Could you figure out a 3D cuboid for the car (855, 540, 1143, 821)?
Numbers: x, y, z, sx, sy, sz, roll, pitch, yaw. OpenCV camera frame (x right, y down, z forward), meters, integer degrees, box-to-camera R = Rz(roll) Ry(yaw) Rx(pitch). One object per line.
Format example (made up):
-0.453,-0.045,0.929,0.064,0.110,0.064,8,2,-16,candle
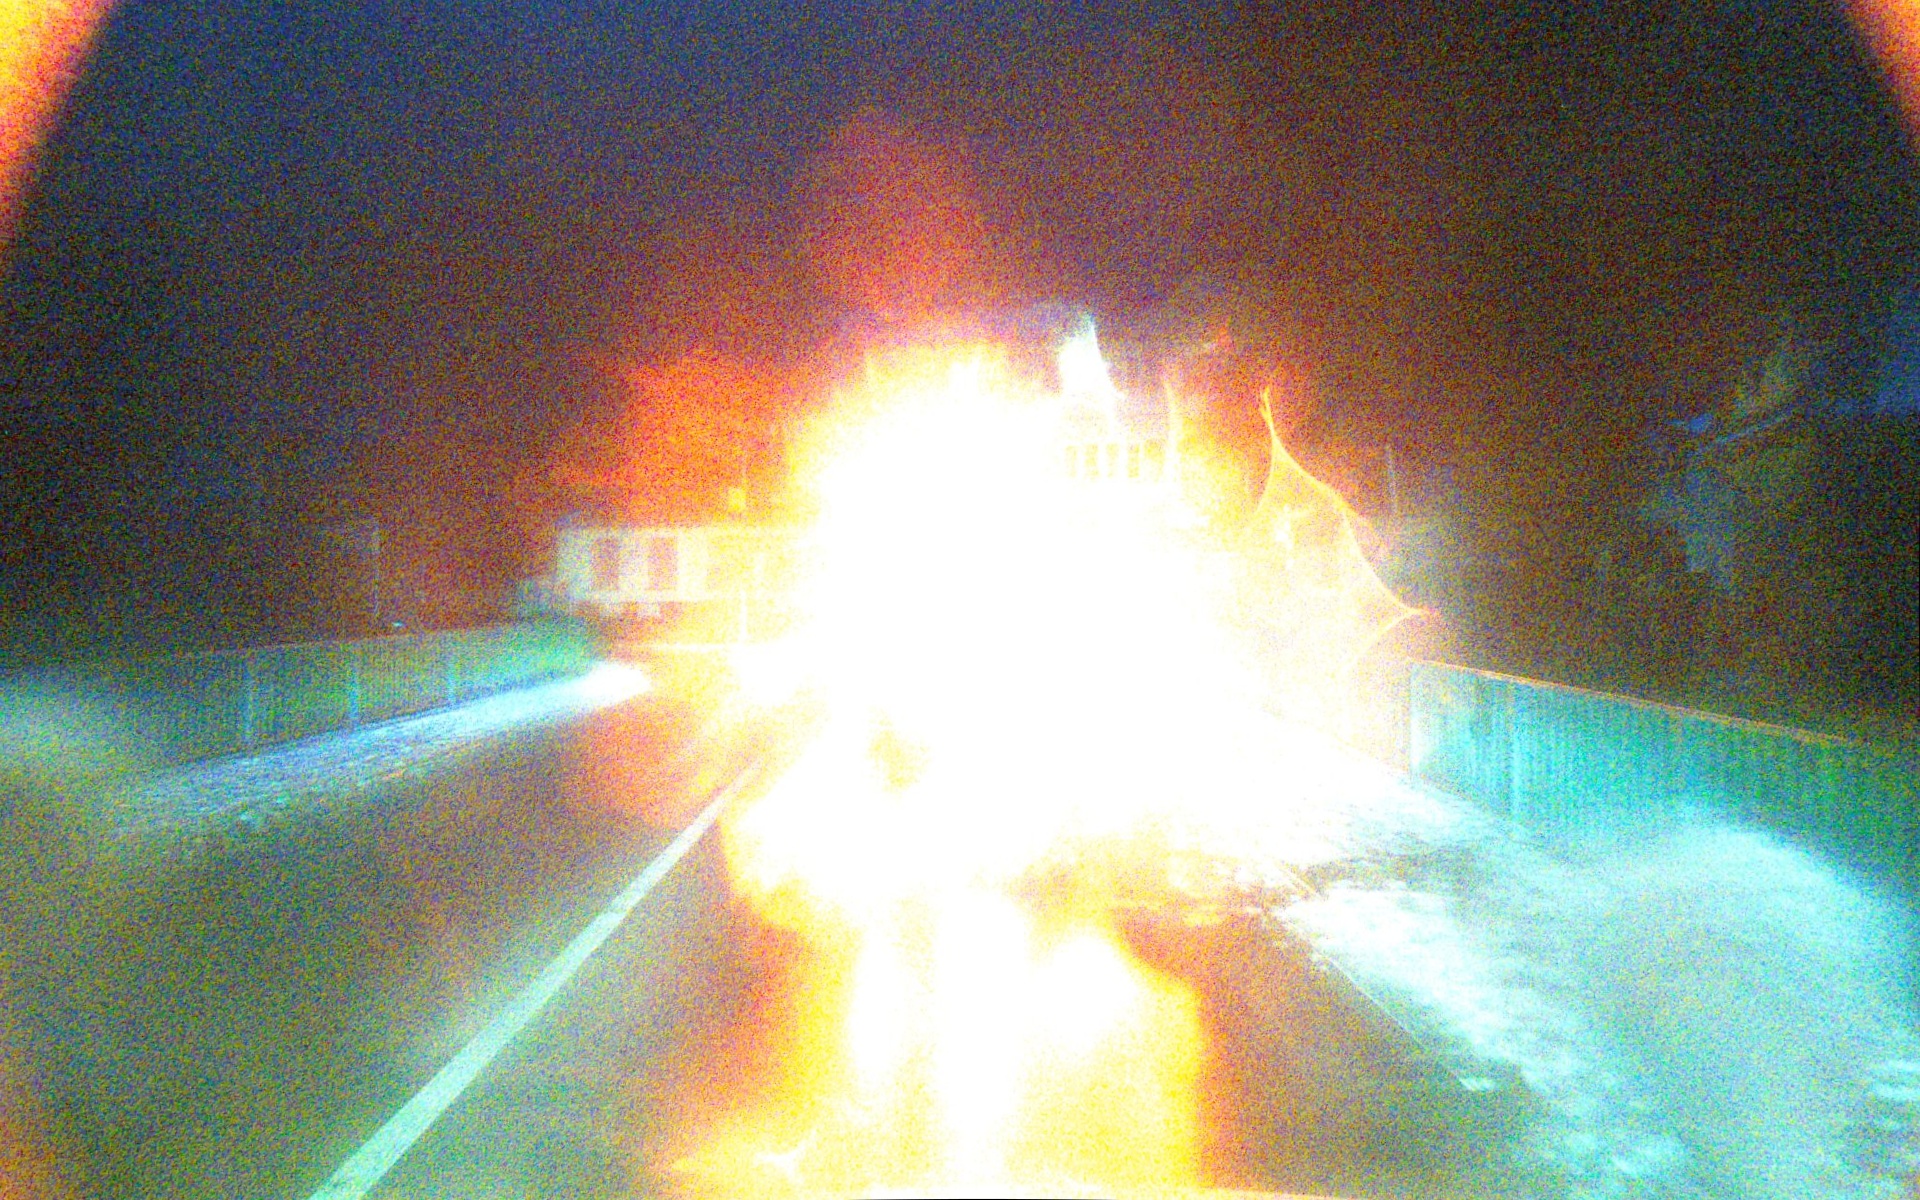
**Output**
0.283,0.468,12.071,1.754,1.710,3.905,0,1,1,car

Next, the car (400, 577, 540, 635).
-16.822,0.205,56.870,4.111,1.831,2.001,2,-1,8,car

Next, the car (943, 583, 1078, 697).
0.760,0.494,23.021,1.707,1.440,4.002,0,0,3,car
